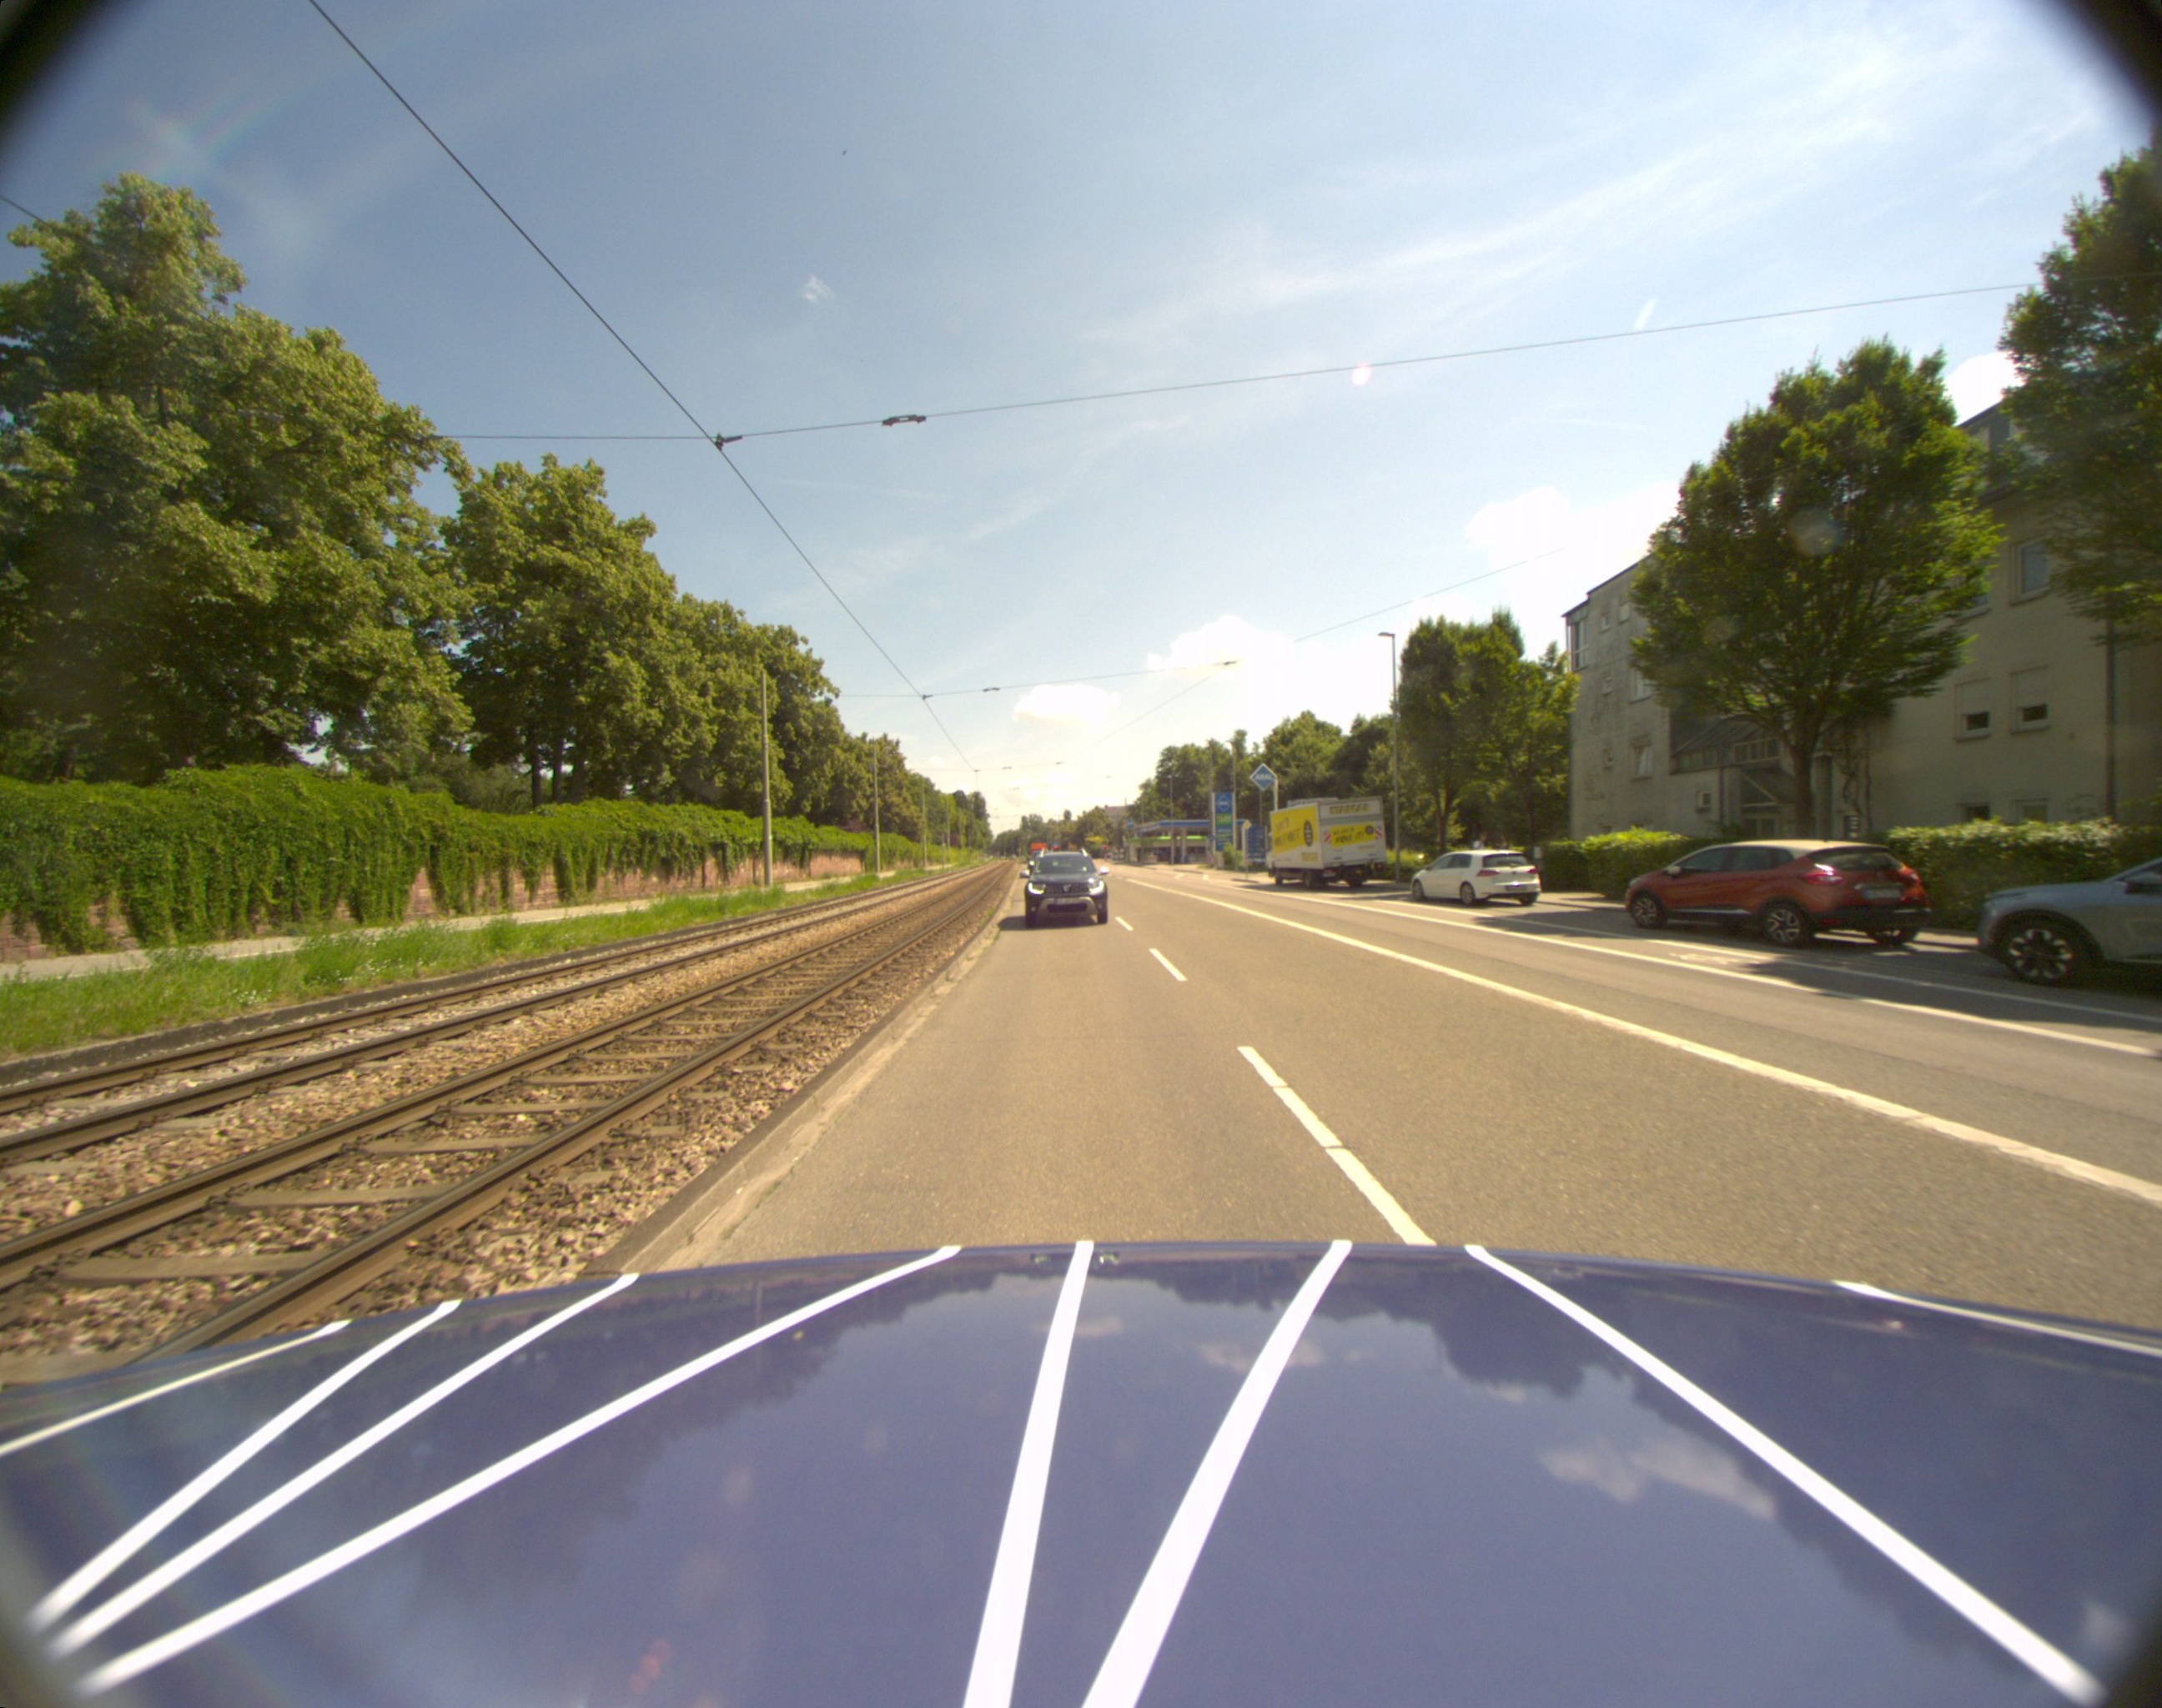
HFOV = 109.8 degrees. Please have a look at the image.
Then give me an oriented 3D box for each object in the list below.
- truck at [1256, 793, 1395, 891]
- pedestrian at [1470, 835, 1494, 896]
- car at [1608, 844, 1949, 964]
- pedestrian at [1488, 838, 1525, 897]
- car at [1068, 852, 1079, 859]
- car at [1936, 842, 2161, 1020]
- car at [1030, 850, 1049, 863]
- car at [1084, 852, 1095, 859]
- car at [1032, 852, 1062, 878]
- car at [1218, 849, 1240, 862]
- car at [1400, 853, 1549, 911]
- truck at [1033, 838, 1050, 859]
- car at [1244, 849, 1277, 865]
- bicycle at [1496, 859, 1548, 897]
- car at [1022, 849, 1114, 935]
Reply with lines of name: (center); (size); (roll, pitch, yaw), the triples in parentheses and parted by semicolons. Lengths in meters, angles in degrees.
truck: (10.235, -0.473, 32.940); (2.839, 3.528, 8.167); (-4, 0, -3)
pedestrian: (12.671, 0.362, 23.999); (0.642, 1.911, 0.710); (-1, 1, 28)
car: (11.054, 0.664, 12.532); (1.660, 1.600, 4.172); (-2, 1, -3)
pedestrian: (12.988, 0.405, 23.204); (0.685, 1.784, 0.702); (-1, 1, -30)
car: (-1.485, 0.295, 150.665); (1.999, 1.379, 3.999); (-1, 0, -2)
car: (10.974, 0.722, 6.645); (1.660, 1.600, 4.687); (-3, 0, 0)
car: (-4.551, 0.237, 84.466); (1.999, 1.346, 3.999); (1, 1, -2)
car: (1.705, 0.271, 150.556); (1.999, 1.379, 3.999); (-1, 0, -2)
car: (-2.253, 0.702, 51.325); (1.801, 1.683, 4.144); (-1, 0, -1)
car: (20.051, 0.202, 102.783); (1.849, 1.661, 3.998); (-1, 0, -5)
car: (10.678, 0.679, 21.025); (1.660, 1.402, 4.395); (-1, 0, -3)
truck: (-7.076, -1.046, 138.097); (2.846, 3.575, 8.702); (-2, 1, -3)
car: (16.006, 0.255, 68.011); (1.818, 1.329, 3.999); (-1, 0, -3)
bicycle: (13.420, 0.709, 23.146); (0.457, 1.119, 1.664); (-1, 0, -7)
car: (-0.390, 0.764, 17.894); (1.802, 1.652, 4.785); (-2, 1, -3)
